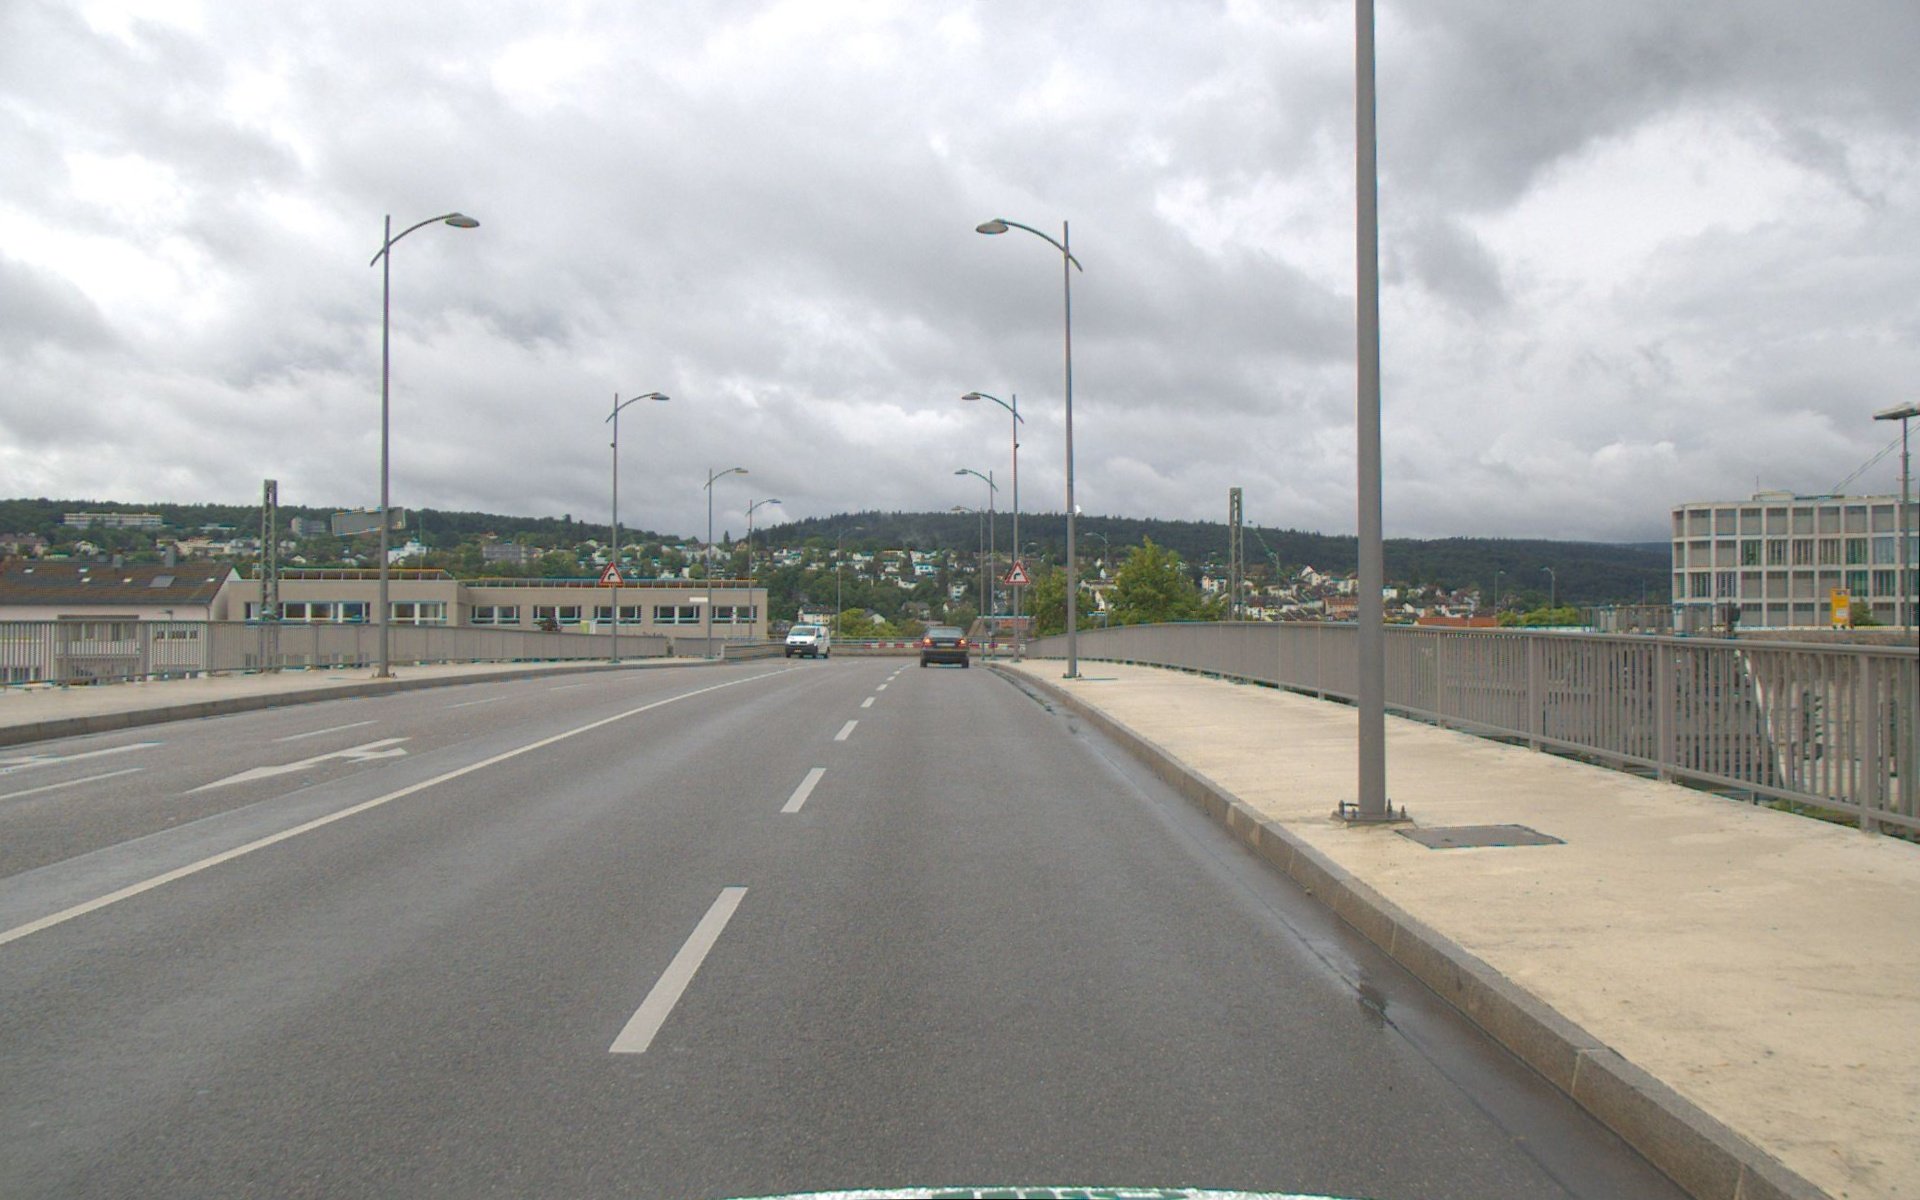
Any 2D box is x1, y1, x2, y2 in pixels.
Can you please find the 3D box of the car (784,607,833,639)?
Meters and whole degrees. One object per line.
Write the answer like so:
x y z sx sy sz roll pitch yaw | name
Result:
-9.151 1.425 100.216 1.846 1.854 4.961 1 -2 8 | car

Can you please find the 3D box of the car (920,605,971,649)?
-0.527 0.951 57.228 1.671 1.444 3.724 1 -1 -1 | car
